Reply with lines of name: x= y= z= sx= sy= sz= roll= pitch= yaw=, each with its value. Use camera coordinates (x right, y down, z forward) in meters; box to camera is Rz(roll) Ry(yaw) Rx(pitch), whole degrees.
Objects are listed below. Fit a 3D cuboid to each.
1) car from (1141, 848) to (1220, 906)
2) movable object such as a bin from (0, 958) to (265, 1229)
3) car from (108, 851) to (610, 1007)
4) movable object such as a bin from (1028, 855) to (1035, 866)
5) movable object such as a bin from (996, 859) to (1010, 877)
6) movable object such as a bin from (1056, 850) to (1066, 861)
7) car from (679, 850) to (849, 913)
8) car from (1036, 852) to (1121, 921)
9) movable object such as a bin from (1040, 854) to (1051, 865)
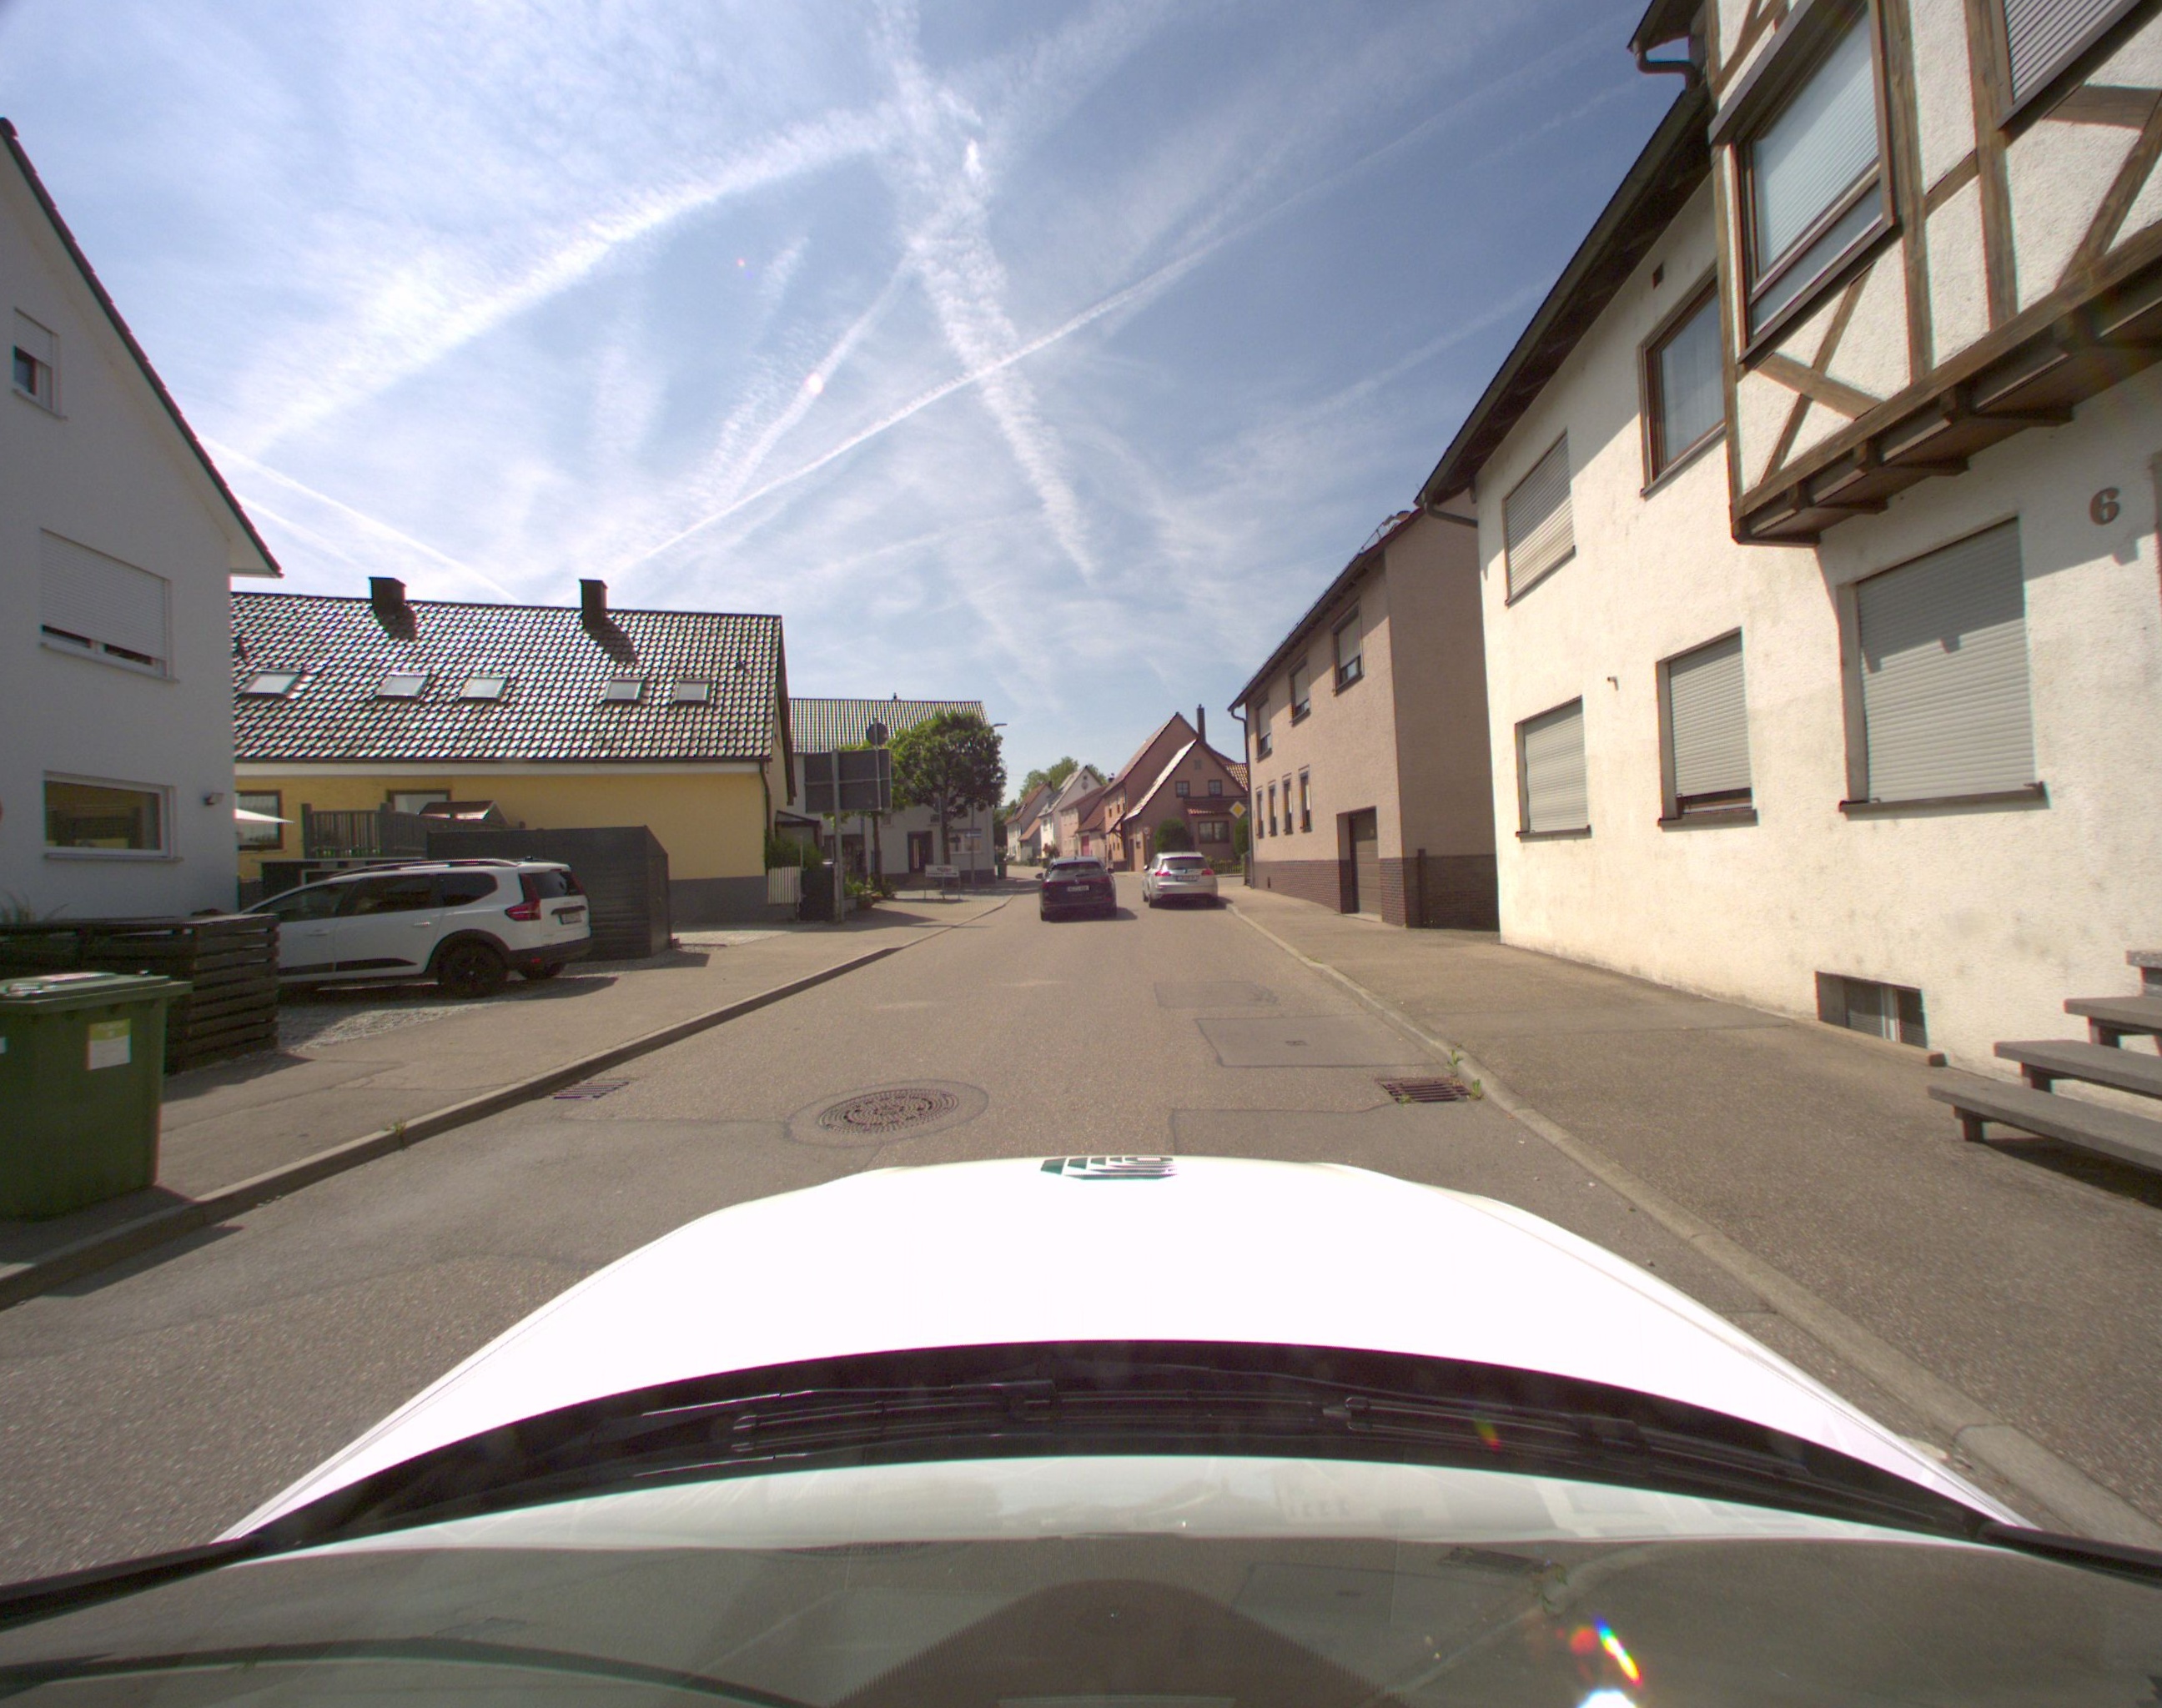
car: x=2.694 y=0.580 z=22.915 sx=1.779 sy=1.442 sz=4.339 roll=-1 pitch=0 yaw=2
movable object such as a bin: x=-4.855 y=1.110 z=4.012 sx=0.821 sy=1.077 sz=0.819 roll=-1 pitch=0 yaw=5
car: x=-8.878 y=0.853 z=10.462 sx=4.399 sy=1.622 sz=1.994 roll=-2 pitch=-1 yaw=-8
movable object such as a bin: x=-5.615 y=0.739 z=92.226 sx=0.680 sy=1.155 sz=0.815 roll=-1 pitch=0 yaw=-18
movable object such as a bin: x=-4.803 y=0.855 z=50.092 sx=0.753 sy=1.060 sz=0.678 roll=-1 pitch=0 yaw=-8
movable object such as a bin: x=-2.058 y=0.167 z=82.398 sx=0.680 sy=1.050 sz=0.830 roll=-6 pitch=1 yaw=-18
car: x=-10.873 y=0.900 z=28.347 sx=5.106 sy=1.896 sz=2.168 roll=-2 pitch=0 yaw=-10
car: x=-0.172 y=0.713 z=20.343 sx=1.837 sy=1.420 sz=4.677 roll=-3 pitch=0 yaw=-3
movable object such as a bin: x=-3.625 y=0.574 z=83.272 sx=0.878 sy=1.074 sz=0.867 roll=-6 pitch=1 yaw=-19
